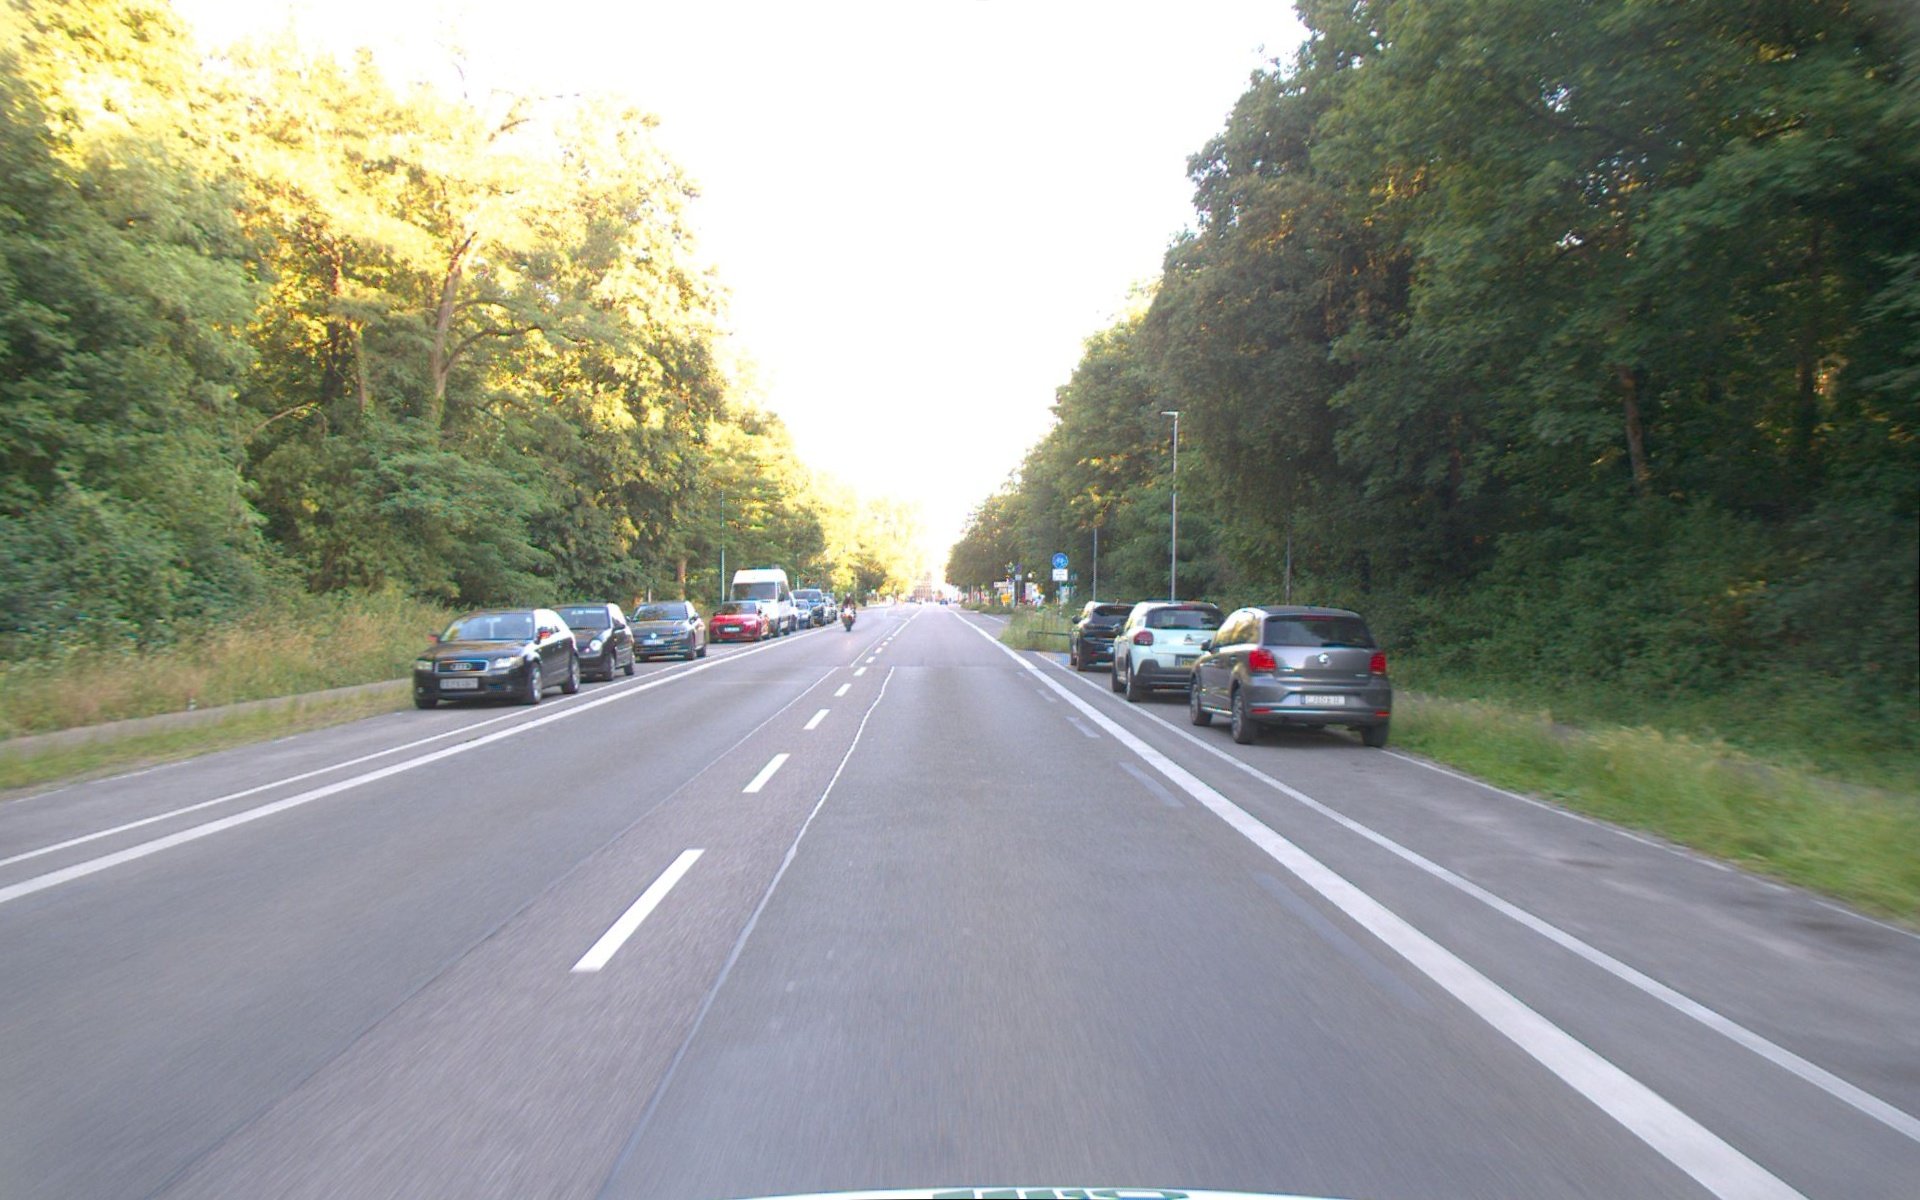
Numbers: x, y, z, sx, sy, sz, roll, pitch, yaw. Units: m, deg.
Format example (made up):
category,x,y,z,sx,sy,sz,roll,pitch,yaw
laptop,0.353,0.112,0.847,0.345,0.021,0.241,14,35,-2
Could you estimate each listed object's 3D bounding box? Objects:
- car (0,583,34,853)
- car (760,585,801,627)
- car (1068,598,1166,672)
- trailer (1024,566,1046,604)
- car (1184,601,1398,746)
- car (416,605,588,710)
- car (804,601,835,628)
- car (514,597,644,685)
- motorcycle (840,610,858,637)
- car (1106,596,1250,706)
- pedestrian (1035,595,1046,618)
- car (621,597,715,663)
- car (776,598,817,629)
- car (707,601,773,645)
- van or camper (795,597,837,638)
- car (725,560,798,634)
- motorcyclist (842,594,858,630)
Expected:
category,x,y,z,sx,sy,sz,roll,pitch,yaw
car,-6.714,0.765,8.331,1.661,1.675,4.570,-2,0,-3
car,-8.460,0.304,78.089,1.654,1.891,4.384,2,-1,-3
car,3.343,0.711,35.803,1.676,1.470,4.121,1,0,-1
trailer,10.969,-2.157,243.338,2.958,5.558,7.934,0,0,0
car,3.686,0.759,19.048,1.547,1.472,3.959,0,0,-2
car,-6.904,0.818,25.322,1.565,1.419,4.050,-1,0,-2
car,-8.393,0.878,99.025,1.635,1.527,4.244,-2,0,-3
car,-7.212,0.737,31.621,1.677,1.535,3.656,-2,0,-2
motorcycle,-4.813,1.000,71.675,0.598,1.146,1.962,0,0,2
car,3.318,0.729,25.840,1.654,1.573,4.111,0,0,-1
pedestrian,6.145,0.481,125.792,0.821,1.782,0.726,0,-1,0
car,-7.299,0.716,41.715,1.809,1.488,4.227,-2,0,-3
car,-8.194,0.650,83.076,1.636,1.458,4.446,-2,0,-1
car,-7.699,0.773,58.296,1.681,1.455,4.387,-1,0,0
van or camper,-7.782,0.916,89.672,1.962,2.053,5.458,-3,0,-3
car,-7.783,-0.106,65.542,2.037,2.652,7.087,-3,0,-1
motorcyclist,-4.779,0.503,71.813,0.591,1.556,0.995,0,0,1
